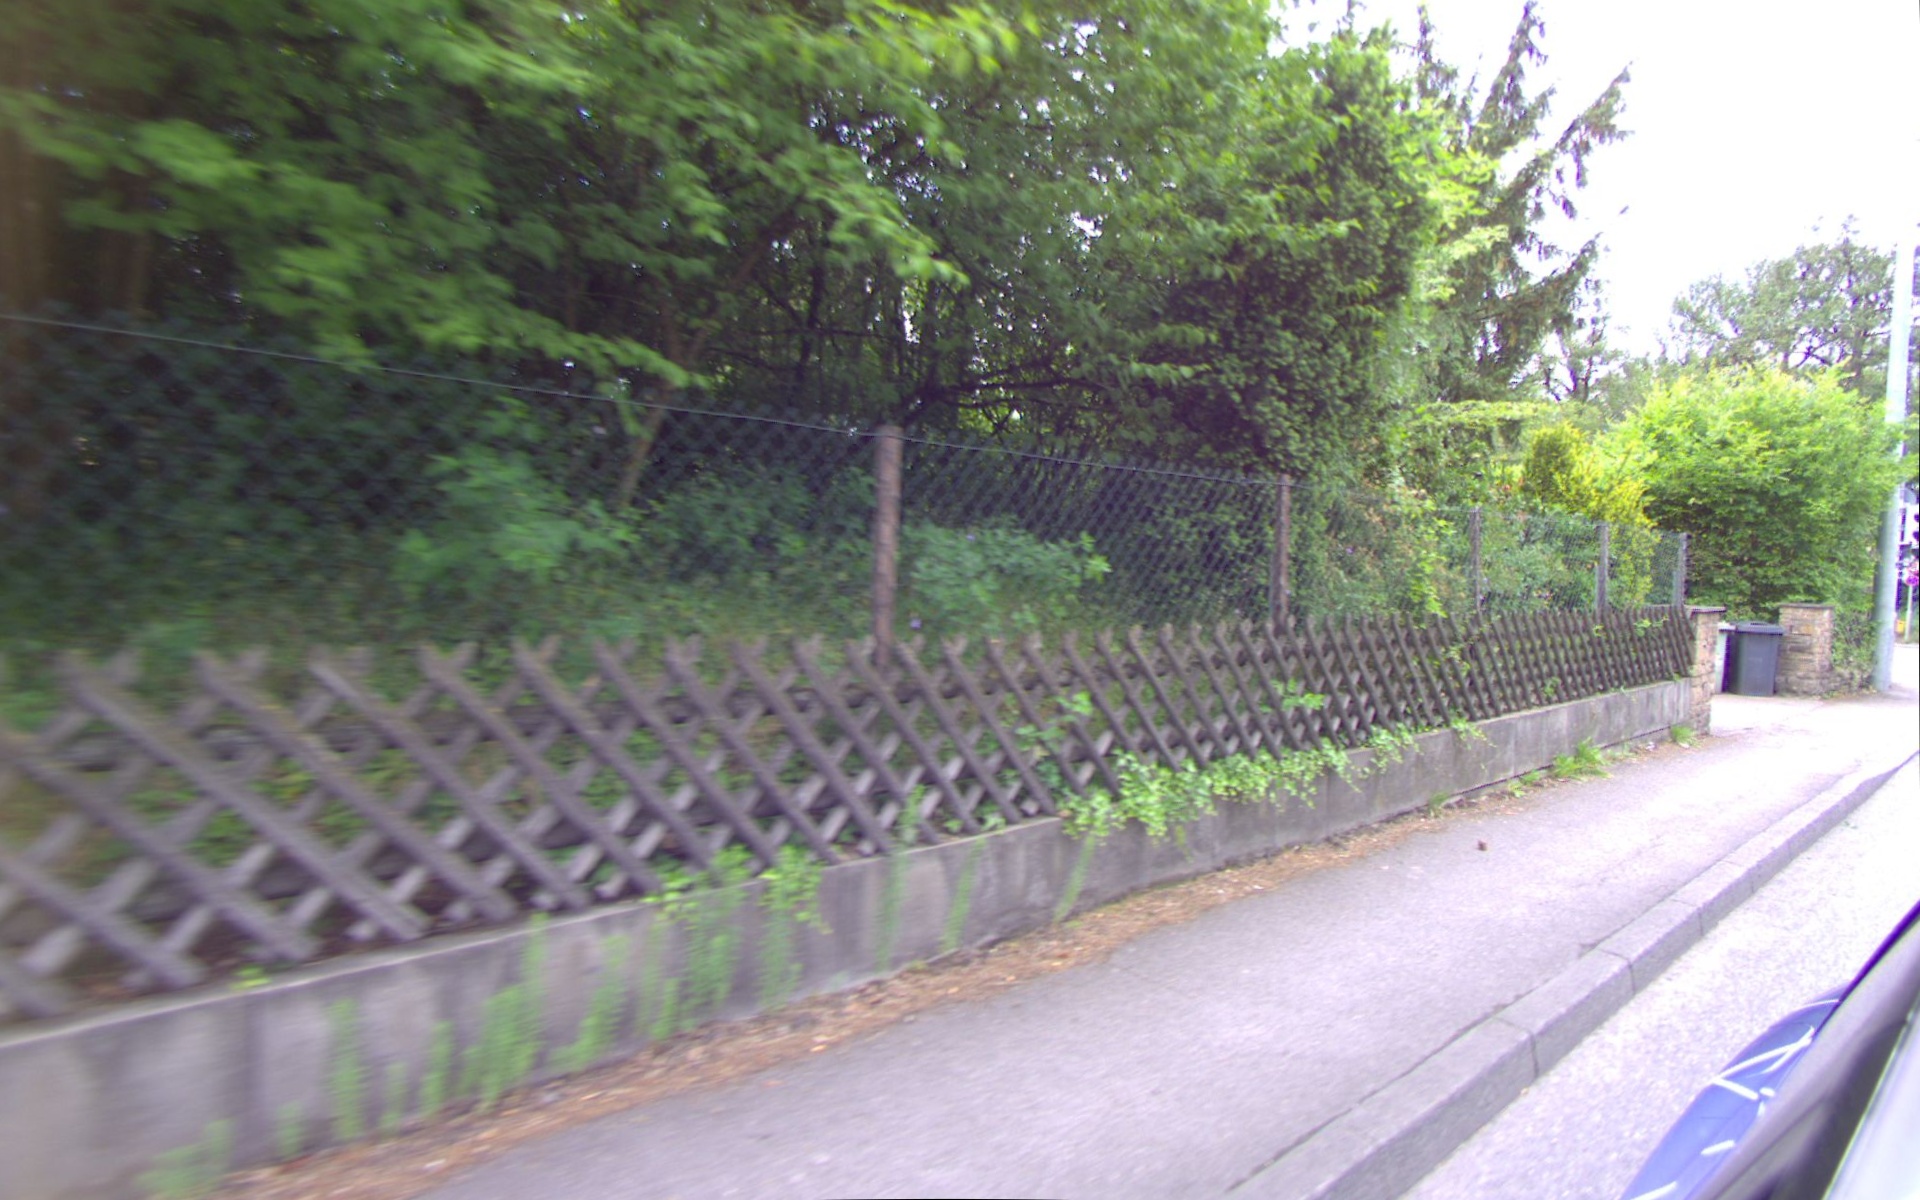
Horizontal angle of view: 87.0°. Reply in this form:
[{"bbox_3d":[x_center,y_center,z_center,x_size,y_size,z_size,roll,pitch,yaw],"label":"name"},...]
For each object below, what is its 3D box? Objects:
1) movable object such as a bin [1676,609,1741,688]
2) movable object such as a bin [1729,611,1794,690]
[{"bbox_3d":[10.781,0.684,14.587,0.532,1.075,0.507,3,1,12],"label":"movable object such as a bin"},{"bbox_3d":[11.470,0.715,14.493,0.534,1.058,0.505,4,2,23],"label":"movable object such as a bin"}]
